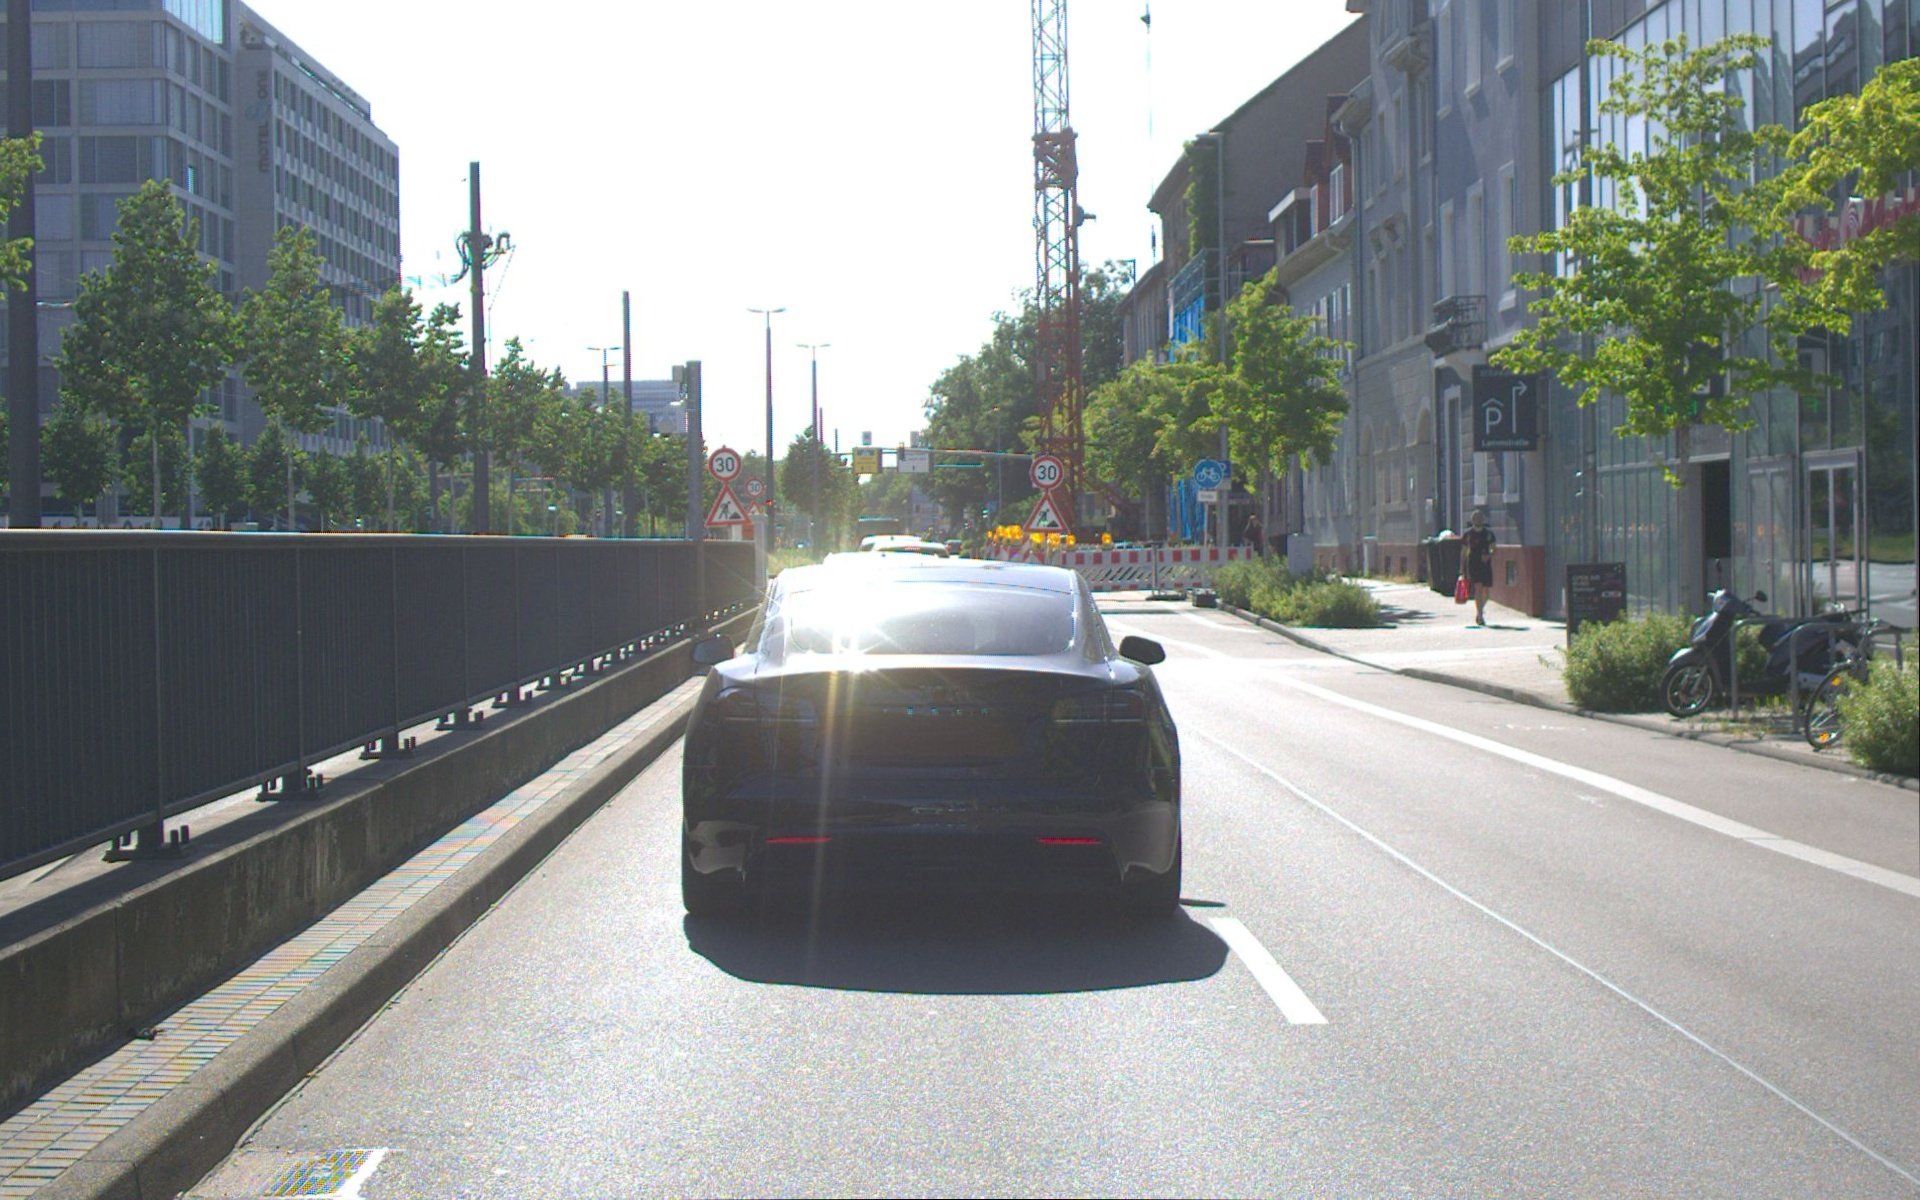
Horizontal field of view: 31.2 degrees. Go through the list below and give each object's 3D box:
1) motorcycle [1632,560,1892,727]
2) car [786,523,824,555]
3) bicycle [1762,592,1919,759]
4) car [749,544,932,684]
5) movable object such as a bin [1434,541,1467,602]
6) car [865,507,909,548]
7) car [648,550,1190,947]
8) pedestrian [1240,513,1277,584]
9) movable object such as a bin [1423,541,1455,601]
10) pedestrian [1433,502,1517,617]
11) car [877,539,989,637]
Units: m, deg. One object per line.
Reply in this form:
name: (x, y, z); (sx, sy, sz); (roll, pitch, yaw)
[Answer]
motorcycle: (7.003, 0.382, 30.036); (2.075, 1.349, 0.652); (-3, 0, 23)
car: (-8.585, -3.374, 190.360); (1.993, 1.678, 4.000); (1, 1, -2)
bicycle: (6.968, 0.533, 25.397); (1.881, 1.147, 0.672); (-2, 1, -10)
car: (-1.173, 0.107, 35.299); (1.716, 1.315, 4.000); (0, 1, 0)
movable object such as a bin: (9.459, -0.554, 66.350); (0.559, 1.165, 0.562); (1, 0, 3)
car: (-3.242, -3.242, 154.008); (1.814, 1.803, 4.039); (0, 1, 1)
car: (-0.066, 0.517, 14.918); (1.999, 1.429, 4.412); (0, 1, 2)
pedestrian: (7.885, -1.366, 90.783); (0.851, 1.857, 0.930); (-1, 1, -2)
movable object such as a bin: (9.369, -0.565, 67.199); (0.559, 1.165, 0.562); (1, 0, 3)
pedestrian: (8.510, -0.678, 56.829); (1.095, 1.857, 1.523); (-1, 1, -2)
car: (-0.419, -0.227, 57.679); (1.784, 1.540, 4.039); (0, 1, 1)
